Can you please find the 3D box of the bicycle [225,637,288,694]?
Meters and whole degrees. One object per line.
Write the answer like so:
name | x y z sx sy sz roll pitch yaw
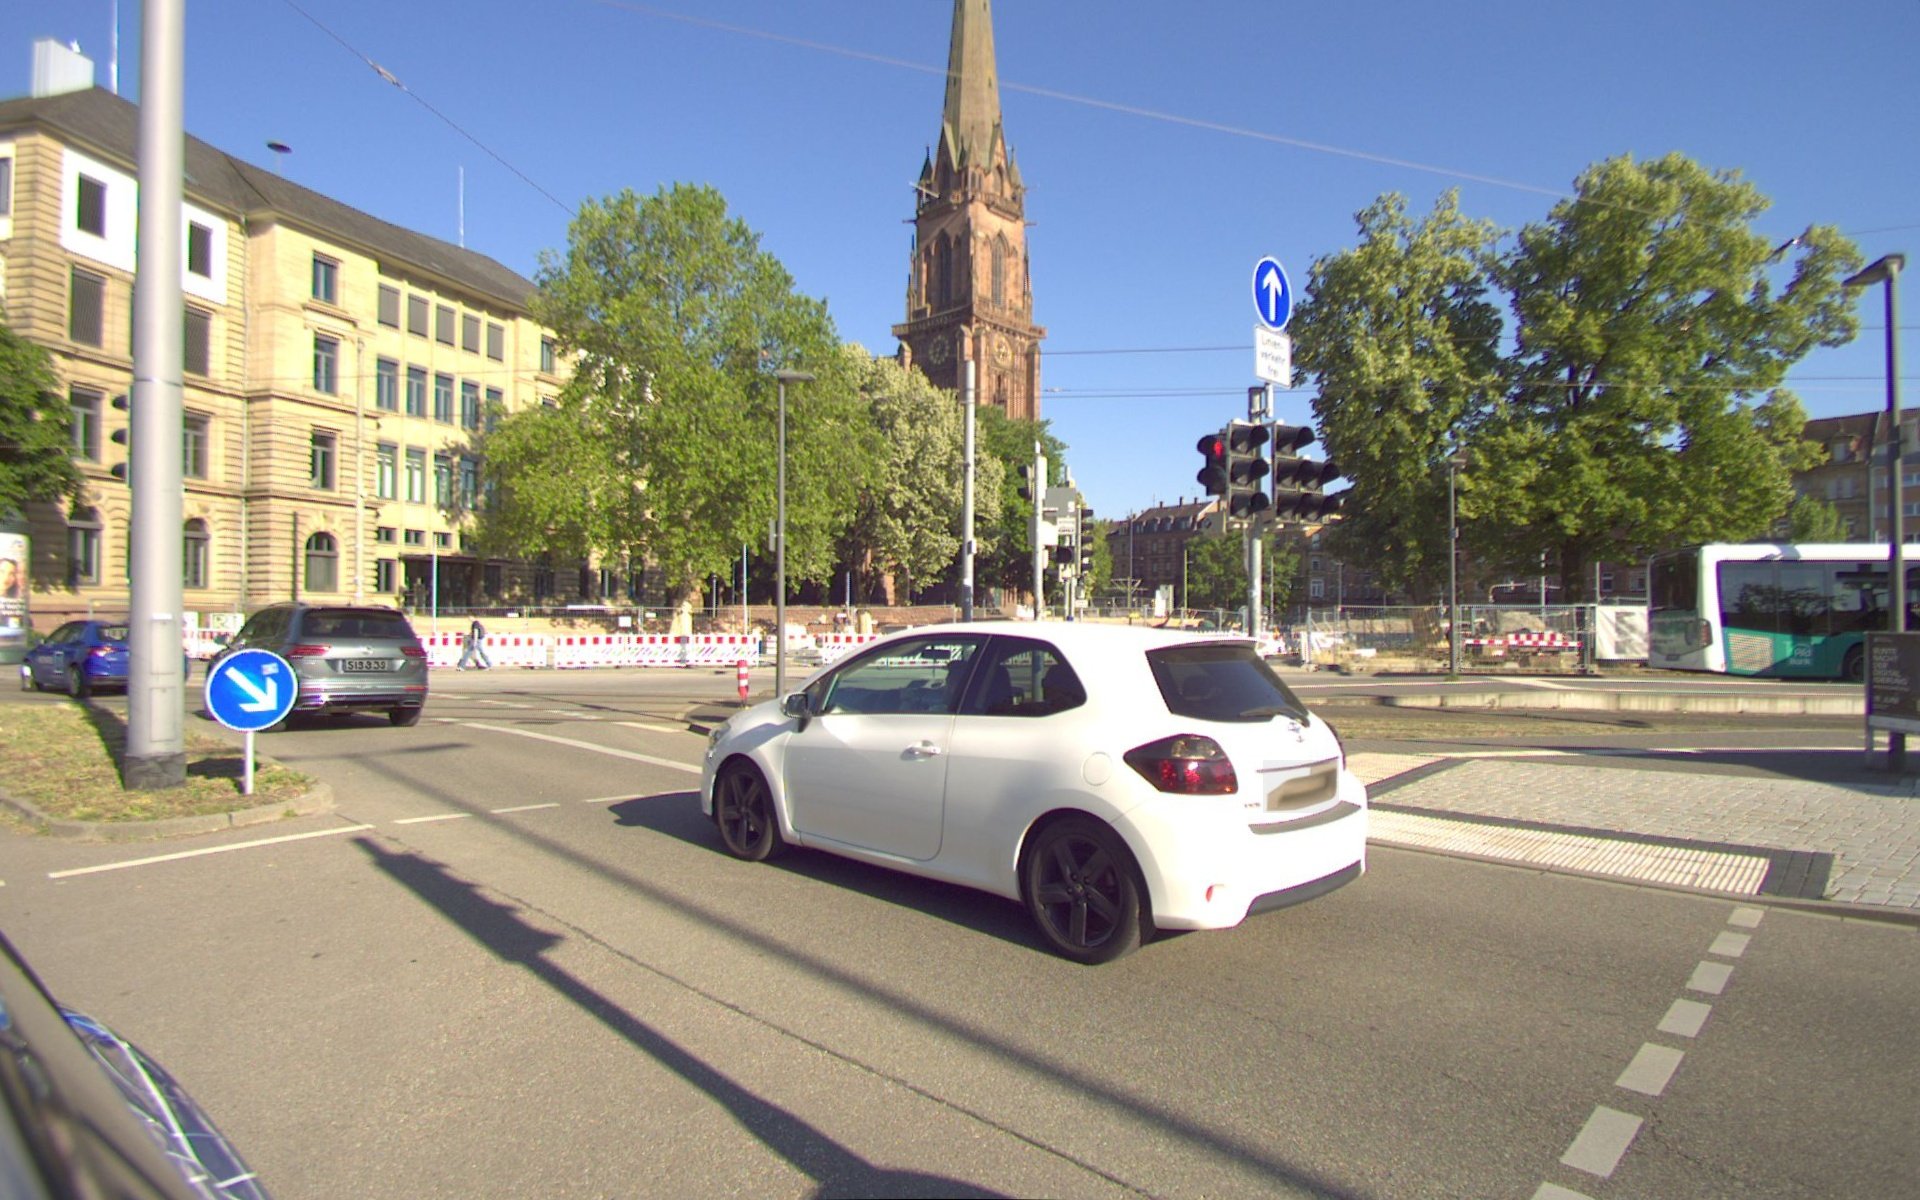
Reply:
bicycle | -15.719 1.424 22.588 2.183 1.189 0.667 -1 -2 42

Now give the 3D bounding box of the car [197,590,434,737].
car | -9.100 0.815 14.120 4.531 1.719 1.742 -1 -3 44

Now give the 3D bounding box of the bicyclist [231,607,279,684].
bicyclist | -15.803 1.011 22.687 0.743 1.670 0.701 -1 -2 42

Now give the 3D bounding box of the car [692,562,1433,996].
car | 0.281 0.693 5.687 3.981 1.572 1.675 -1 -2 45

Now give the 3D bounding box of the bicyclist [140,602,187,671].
bicyclist | -19.865 0.913 25.241 0.901 1.670 0.701 -1 -4 42

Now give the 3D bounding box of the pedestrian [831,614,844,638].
pedestrian | -8.666 1.845 71.426 0.673 1.660 0.631 -1 -1 32

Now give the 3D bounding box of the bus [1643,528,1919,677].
bus | 21.173 0.038 22.542 9.538 3.159 2.654 0 0 11

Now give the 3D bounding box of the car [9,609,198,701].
car | -16.994 1.056 20.043 3.912 1.586 1.723 1 -3 33

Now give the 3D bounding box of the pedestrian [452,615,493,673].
pedestrian | -14.936 1.352 31.017 0.887 1.710 0.712 2 -2 -6
